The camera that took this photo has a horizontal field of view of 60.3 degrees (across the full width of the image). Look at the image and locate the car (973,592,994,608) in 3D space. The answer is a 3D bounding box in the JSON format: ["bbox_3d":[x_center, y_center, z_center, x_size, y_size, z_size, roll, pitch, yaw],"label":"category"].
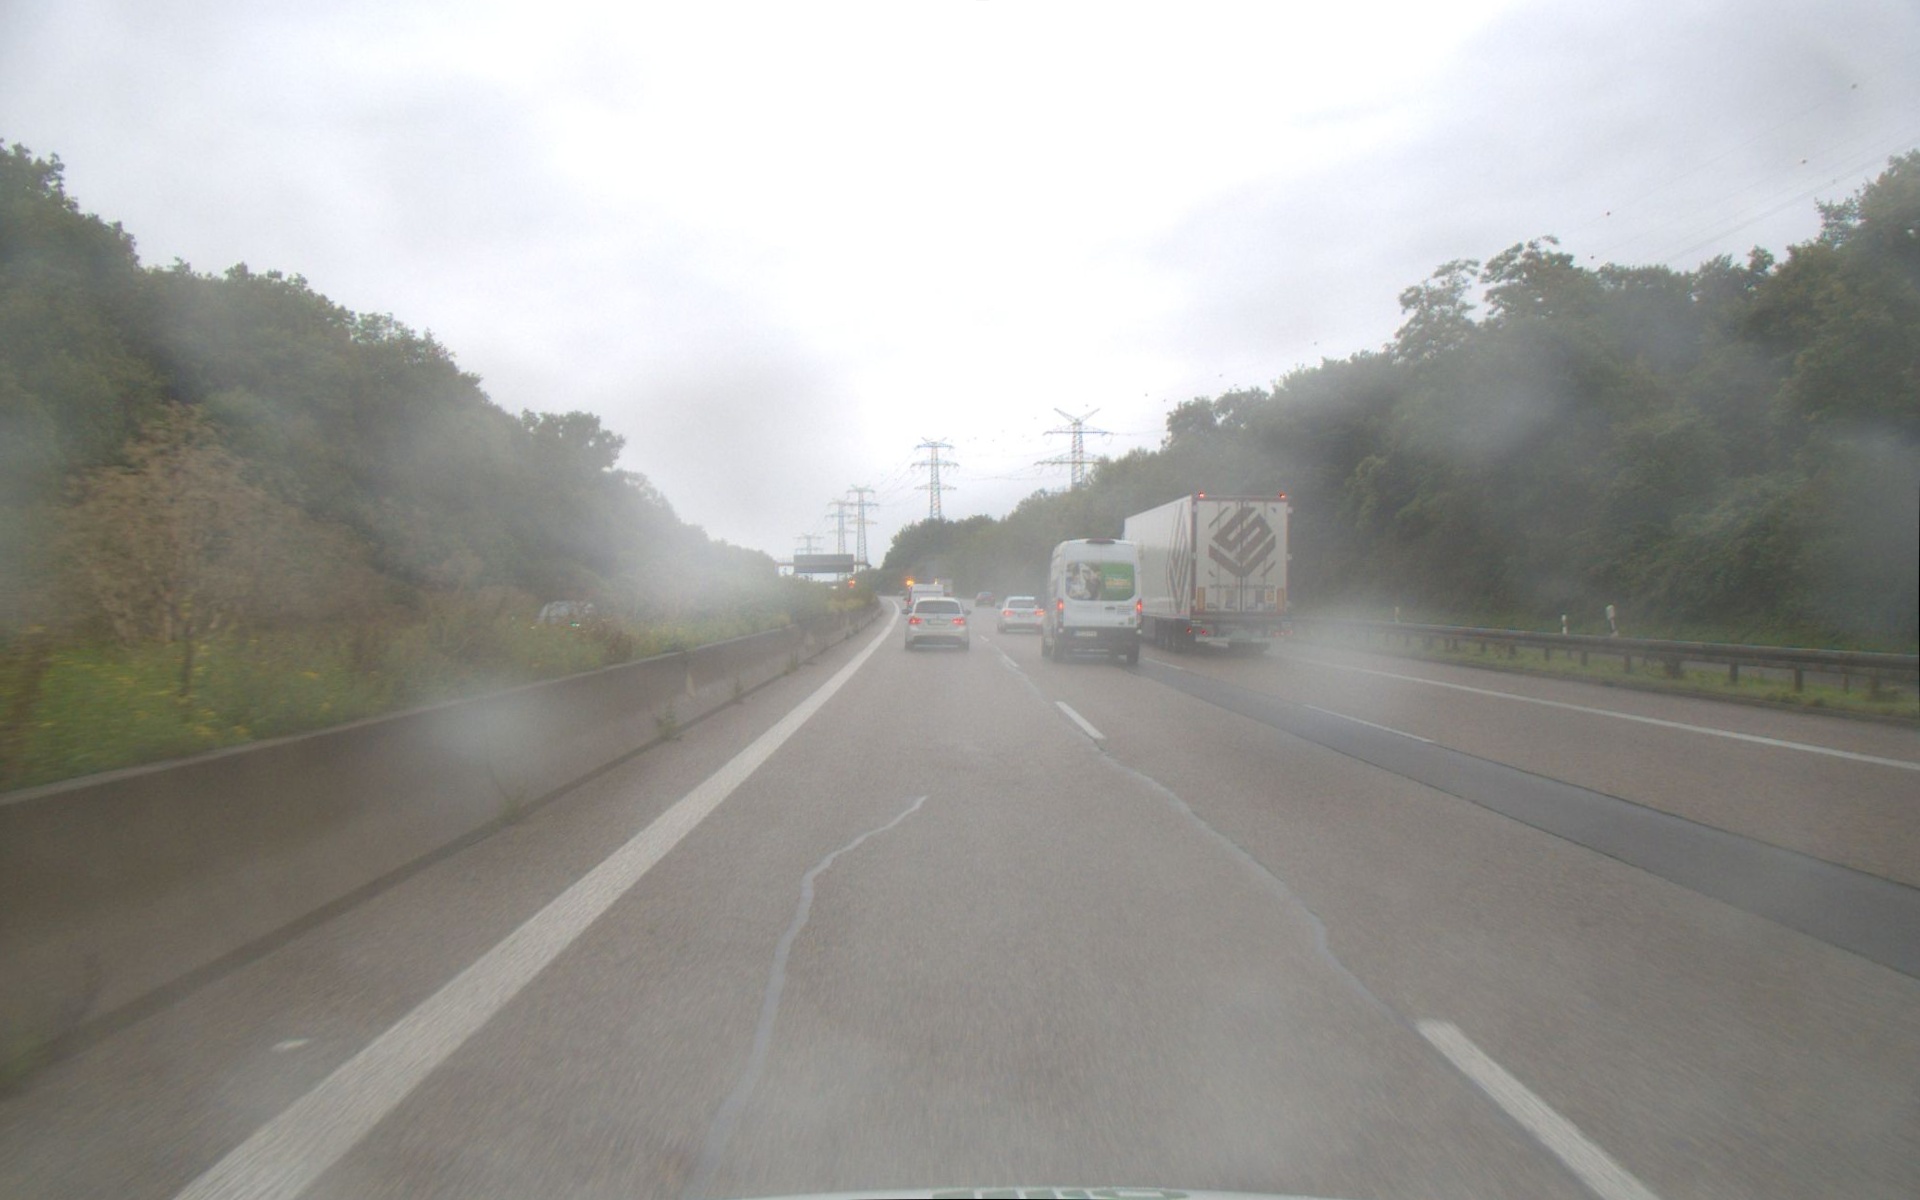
[{"bbox_3d":[2.383,-0.001,164.213,1.952,1.512,4.001,-2,-1,2],"label":"car"}]

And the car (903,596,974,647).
[{"bbox_3d":[-0.564,0.553,45.383,1.828,1.310,4.000,-1,0,0],"label":"car"}]

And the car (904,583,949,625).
[{"bbox_3d":[-1.515,0.178,75.445,1.807,1.803,4.001,-1,0,2],"label":"car"}]

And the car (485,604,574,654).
[{"bbox_3d":[-13.525,0.892,52.196,1.837,1.478,3.999,-1,0,-1],"label":"car"}]

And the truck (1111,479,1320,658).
[{"bbox_3d":[6.916,-0.731,47.380,3.530,4.408,13.194,0,0,-2],"label":"truck"}]

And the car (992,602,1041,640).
[{"bbox_3d":[2.226,0.795,64.551,1.818,1.447,4.002,0,0,3],"label":"car"}]

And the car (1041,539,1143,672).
[{"bbox_3d":[3.035,0.117,38.771,1.953,2.914,3.999,-1,0,-1],"label":"car"}]
